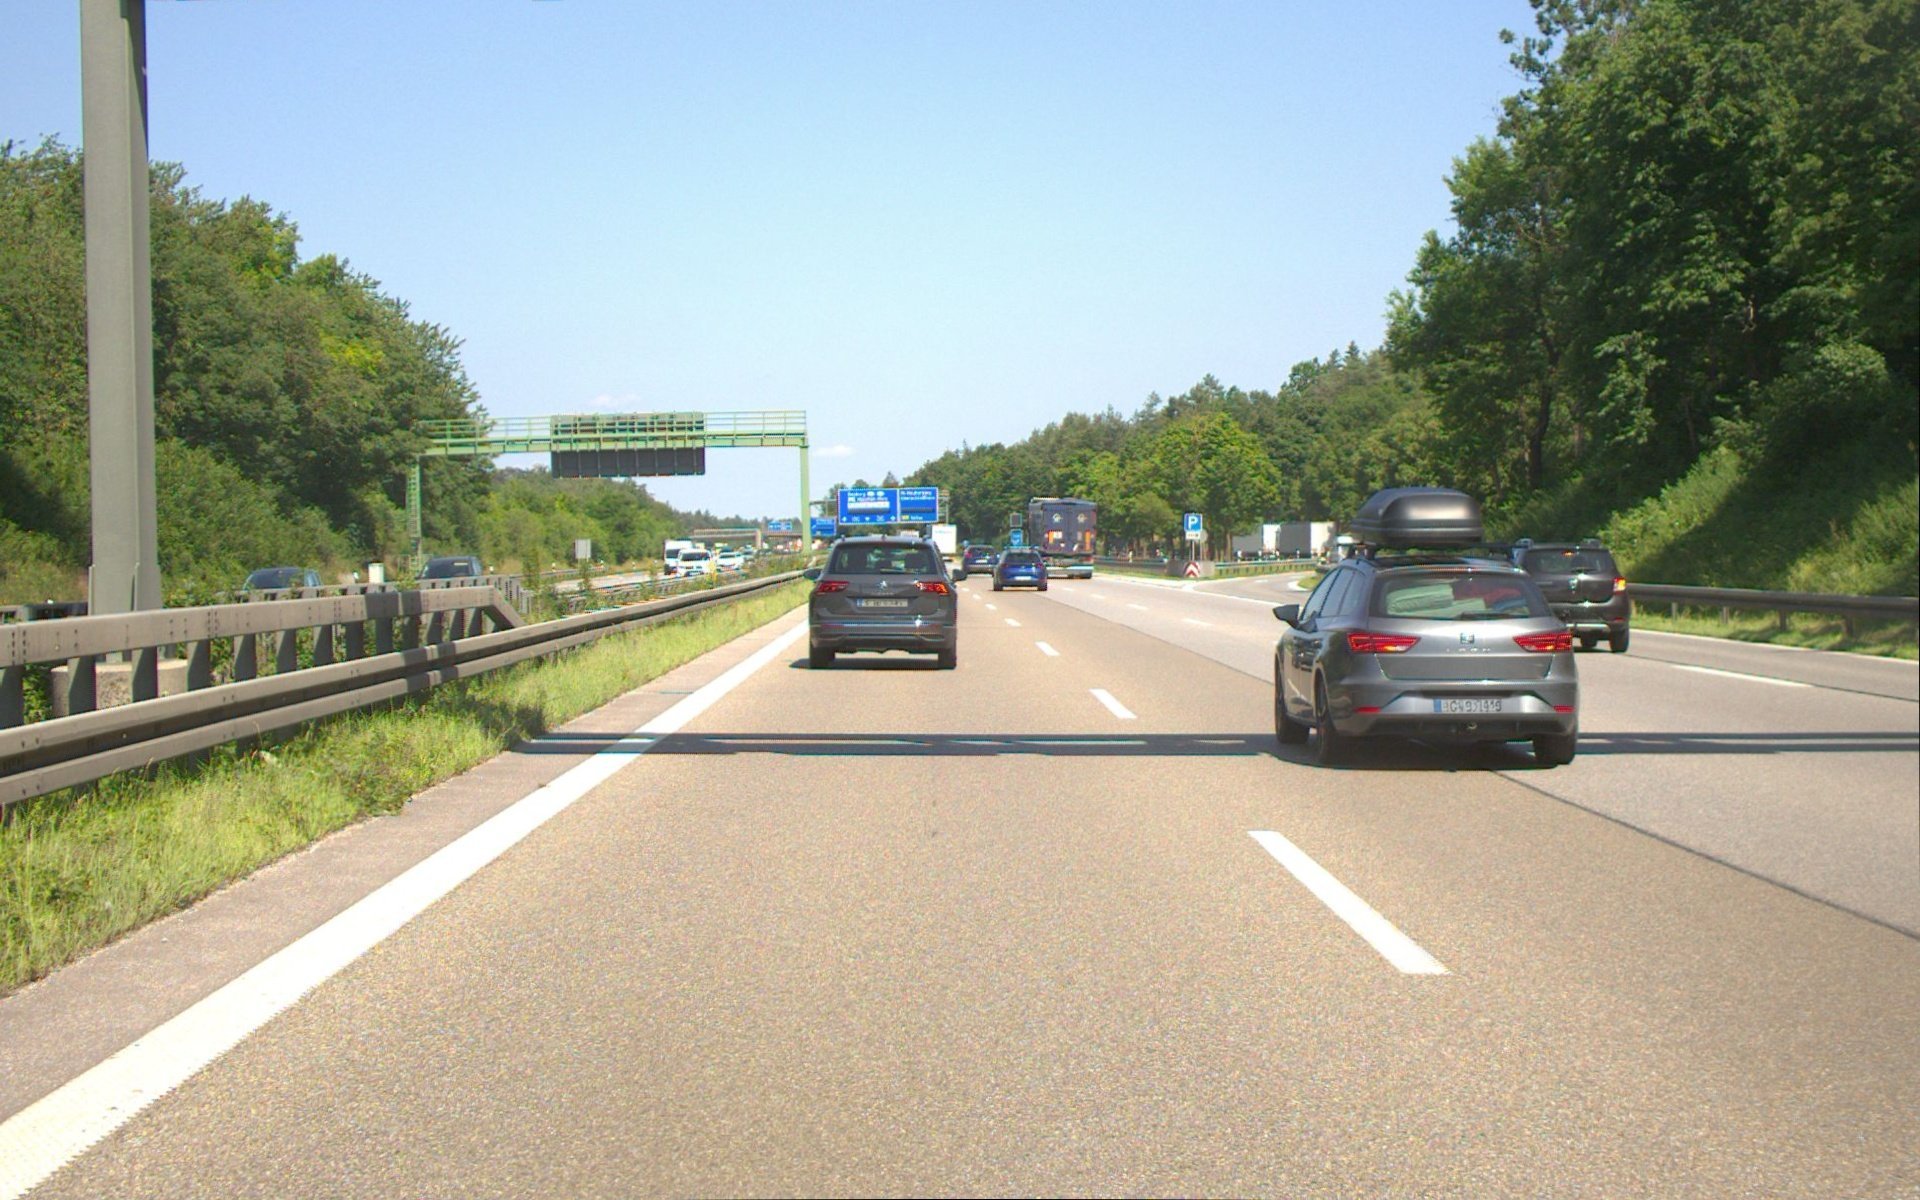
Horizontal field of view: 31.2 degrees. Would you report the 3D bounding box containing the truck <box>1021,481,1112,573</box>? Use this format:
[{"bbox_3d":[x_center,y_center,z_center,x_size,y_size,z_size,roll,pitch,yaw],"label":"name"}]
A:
[{"bbox_3d":[5.187,-3.568,170.469,3.780,4.407,14.052,0,1,-1],"label":"truck"}]

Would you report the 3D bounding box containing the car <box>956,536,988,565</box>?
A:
[{"bbox_3d":[0.578,-2.473,172.815,1.471,1.393,3.410,2,1,-1],"label":"car"}]

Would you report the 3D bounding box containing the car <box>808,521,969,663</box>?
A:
[{"bbox_3d":[-0.846,-0.130,43.014,1.799,1.663,4.258,1,1,1],"label":"car"}]

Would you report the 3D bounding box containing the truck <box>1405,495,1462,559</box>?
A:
[{"bbox_3d":[30.225,-4.625,219.174,3.287,3.933,9.347,-1,1,10],"label":"truck"}]

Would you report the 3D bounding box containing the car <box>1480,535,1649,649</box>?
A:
[{"bbox_3d":[8.720,-0.150,49.854,1.765,1.563,4.258,1,1,1],"label":"car"}]

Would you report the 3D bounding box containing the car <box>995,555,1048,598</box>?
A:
[{"bbox_3d":[2.134,-0.822,118.428,1.765,1.377,4.258,1,1,1],"label":"car"}]

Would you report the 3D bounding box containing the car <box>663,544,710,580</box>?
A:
[{"bbox_3d":[-12.709,-1.782,160.115,1.812,1.611,3.914,-3,1,0],"label":"car"}]

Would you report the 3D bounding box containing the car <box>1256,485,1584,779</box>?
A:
[{"bbox_3d":[3.189,0.160,24.685,1.665,1.870,4.827,-1,1,0],"label":"car"}]
